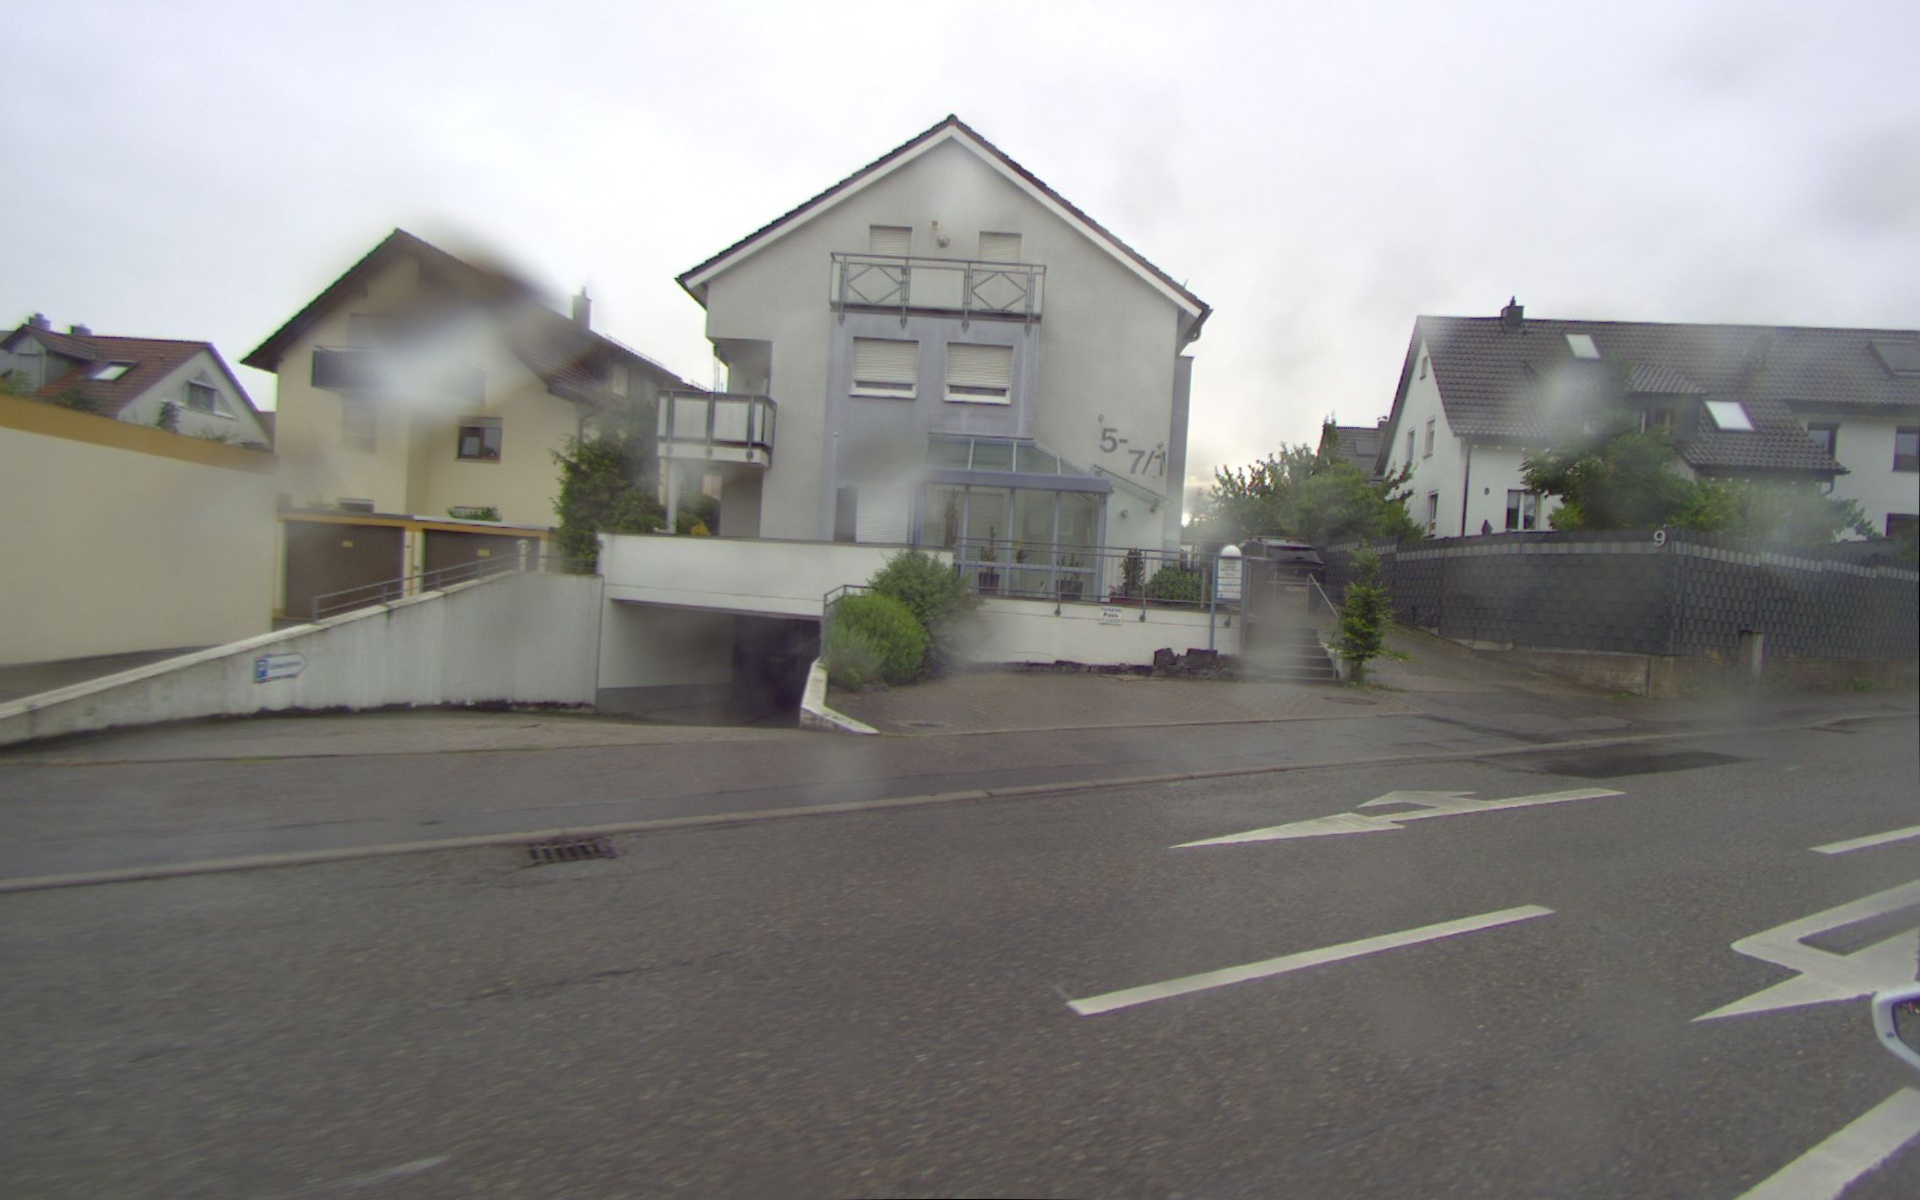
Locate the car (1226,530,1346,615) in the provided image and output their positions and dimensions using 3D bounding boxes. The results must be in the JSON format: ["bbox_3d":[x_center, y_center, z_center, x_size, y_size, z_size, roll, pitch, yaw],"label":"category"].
[{"bbox_3d":[8.473,-0.802,26.503,1.960,1.806,3.999,4,6,3],"label":"car"}]
